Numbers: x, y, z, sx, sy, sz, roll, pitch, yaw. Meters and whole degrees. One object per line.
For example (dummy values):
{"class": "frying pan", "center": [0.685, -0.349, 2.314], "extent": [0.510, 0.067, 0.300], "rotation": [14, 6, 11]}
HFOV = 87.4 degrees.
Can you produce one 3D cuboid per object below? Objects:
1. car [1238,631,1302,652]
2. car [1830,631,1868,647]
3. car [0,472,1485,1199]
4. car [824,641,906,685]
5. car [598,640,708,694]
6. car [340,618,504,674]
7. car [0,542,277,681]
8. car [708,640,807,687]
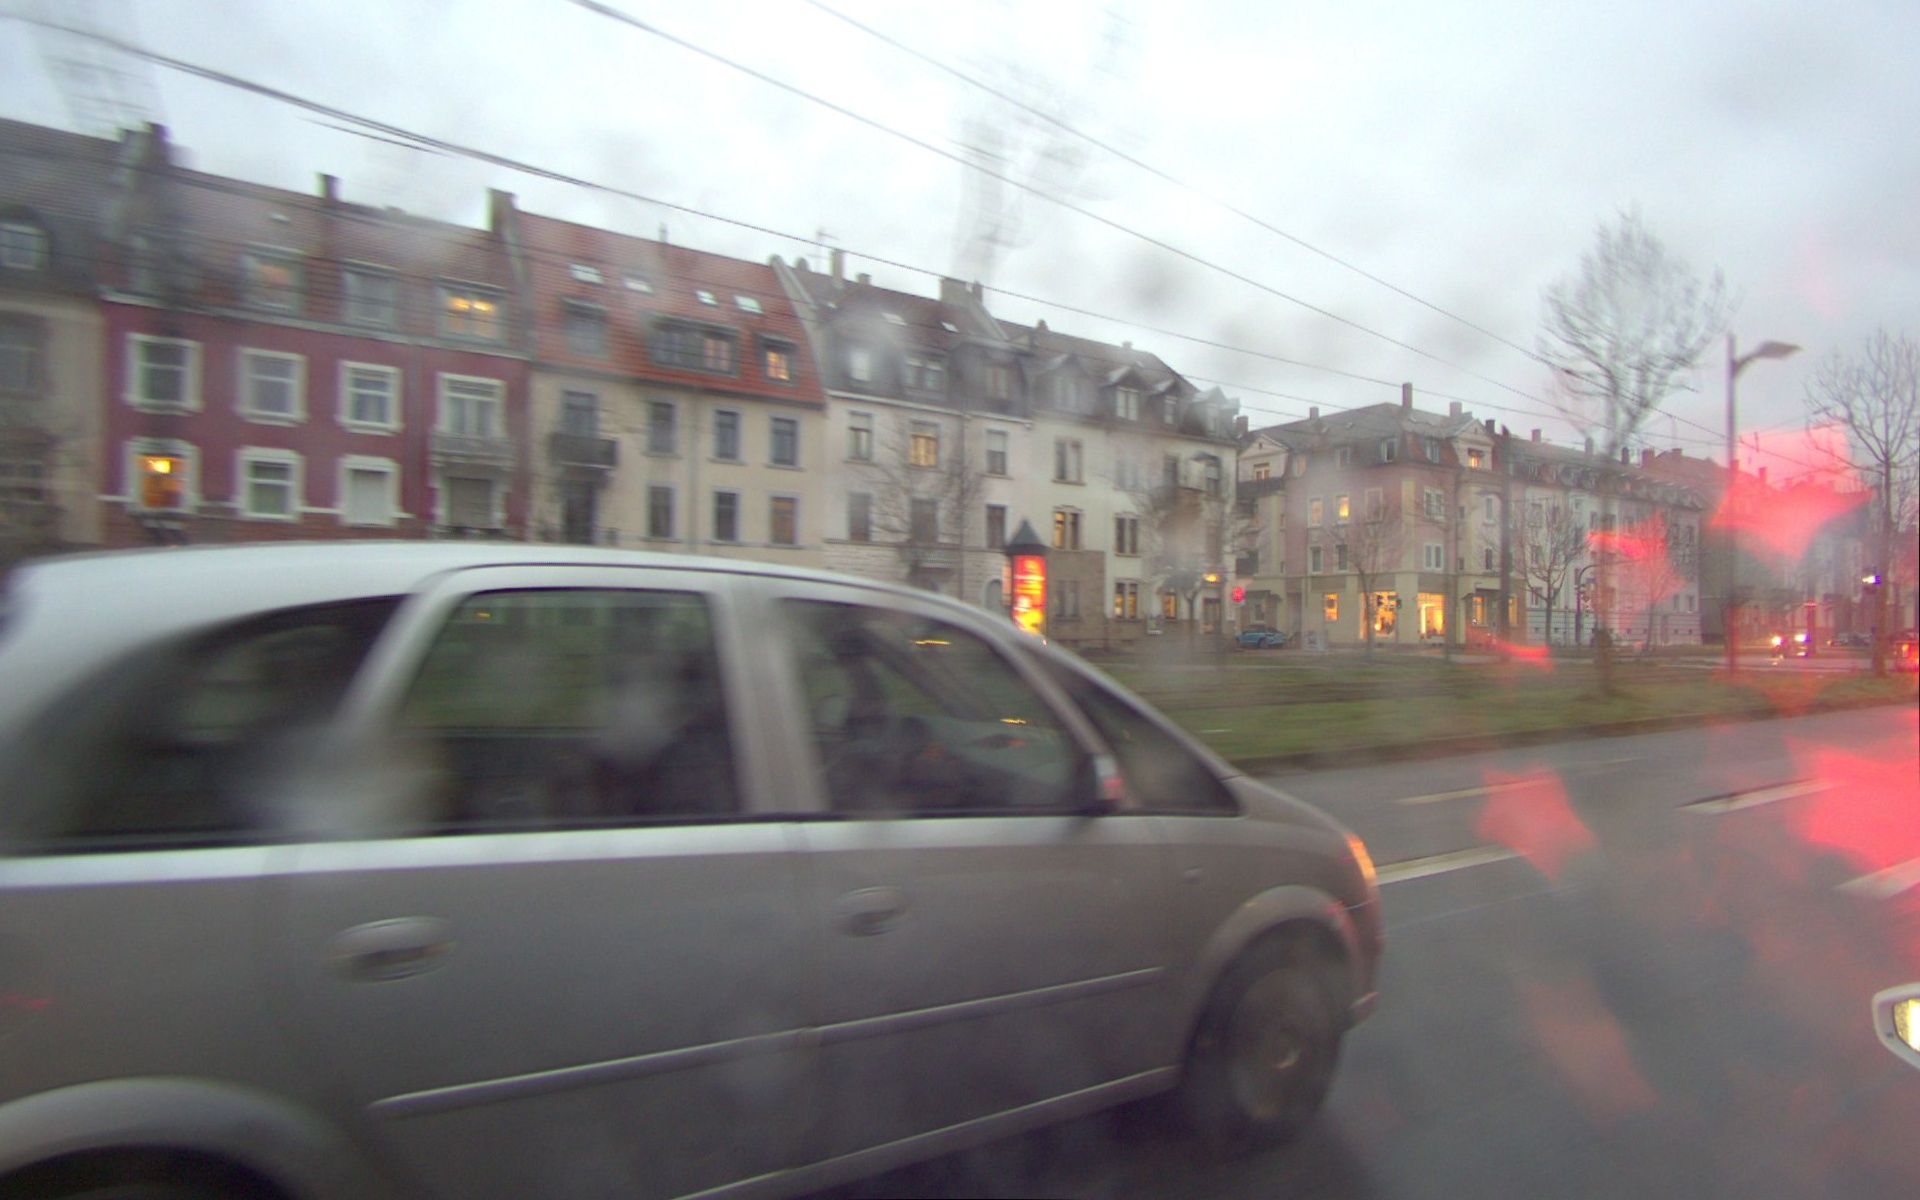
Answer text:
{"class": "car", "center": [22.070, 2.961, 71.649], "extent": [1.982, 1.439, 3.957], "rotation": [1, -2, -38]}
{"class": "car", "center": [80.256, 3.514, 90.690], "extent": [3.520, 1.372, 1.765], "rotation": [1, -2, -34]}
{"class": "car", "center": [-0.513, 0.670, 2.958], "extent": [4.005, 1.621, 1.801], "rotation": [1, -1, -30]}
{"class": "car", "center": [-3.008, 2.018, 32.705], "extent": [1.960, 1.349, 4.003], "rotation": [0, -2, 5]}
{"class": "car", "center": [-9.064, 1.955, 30.042], "extent": [1.960, 1.505, 4.002], "rotation": [0, -2, 2]}
{"class": "car", "center": [-14.117, 1.213, 26.660], "extent": [1.960, 1.349, 4.003], "rotation": [0, -2, 5]}
{"class": "car", "center": [-19.376, 0.367, 23.595], "extent": [1.959, 2.834, 5.872], "rotation": [-1, -2, 9]}
{"class": "car", "center": [-6.215, 1.930, 31.261], "extent": [1.960, 1.349, 4.003], "rotation": [0, -2, 5]}
